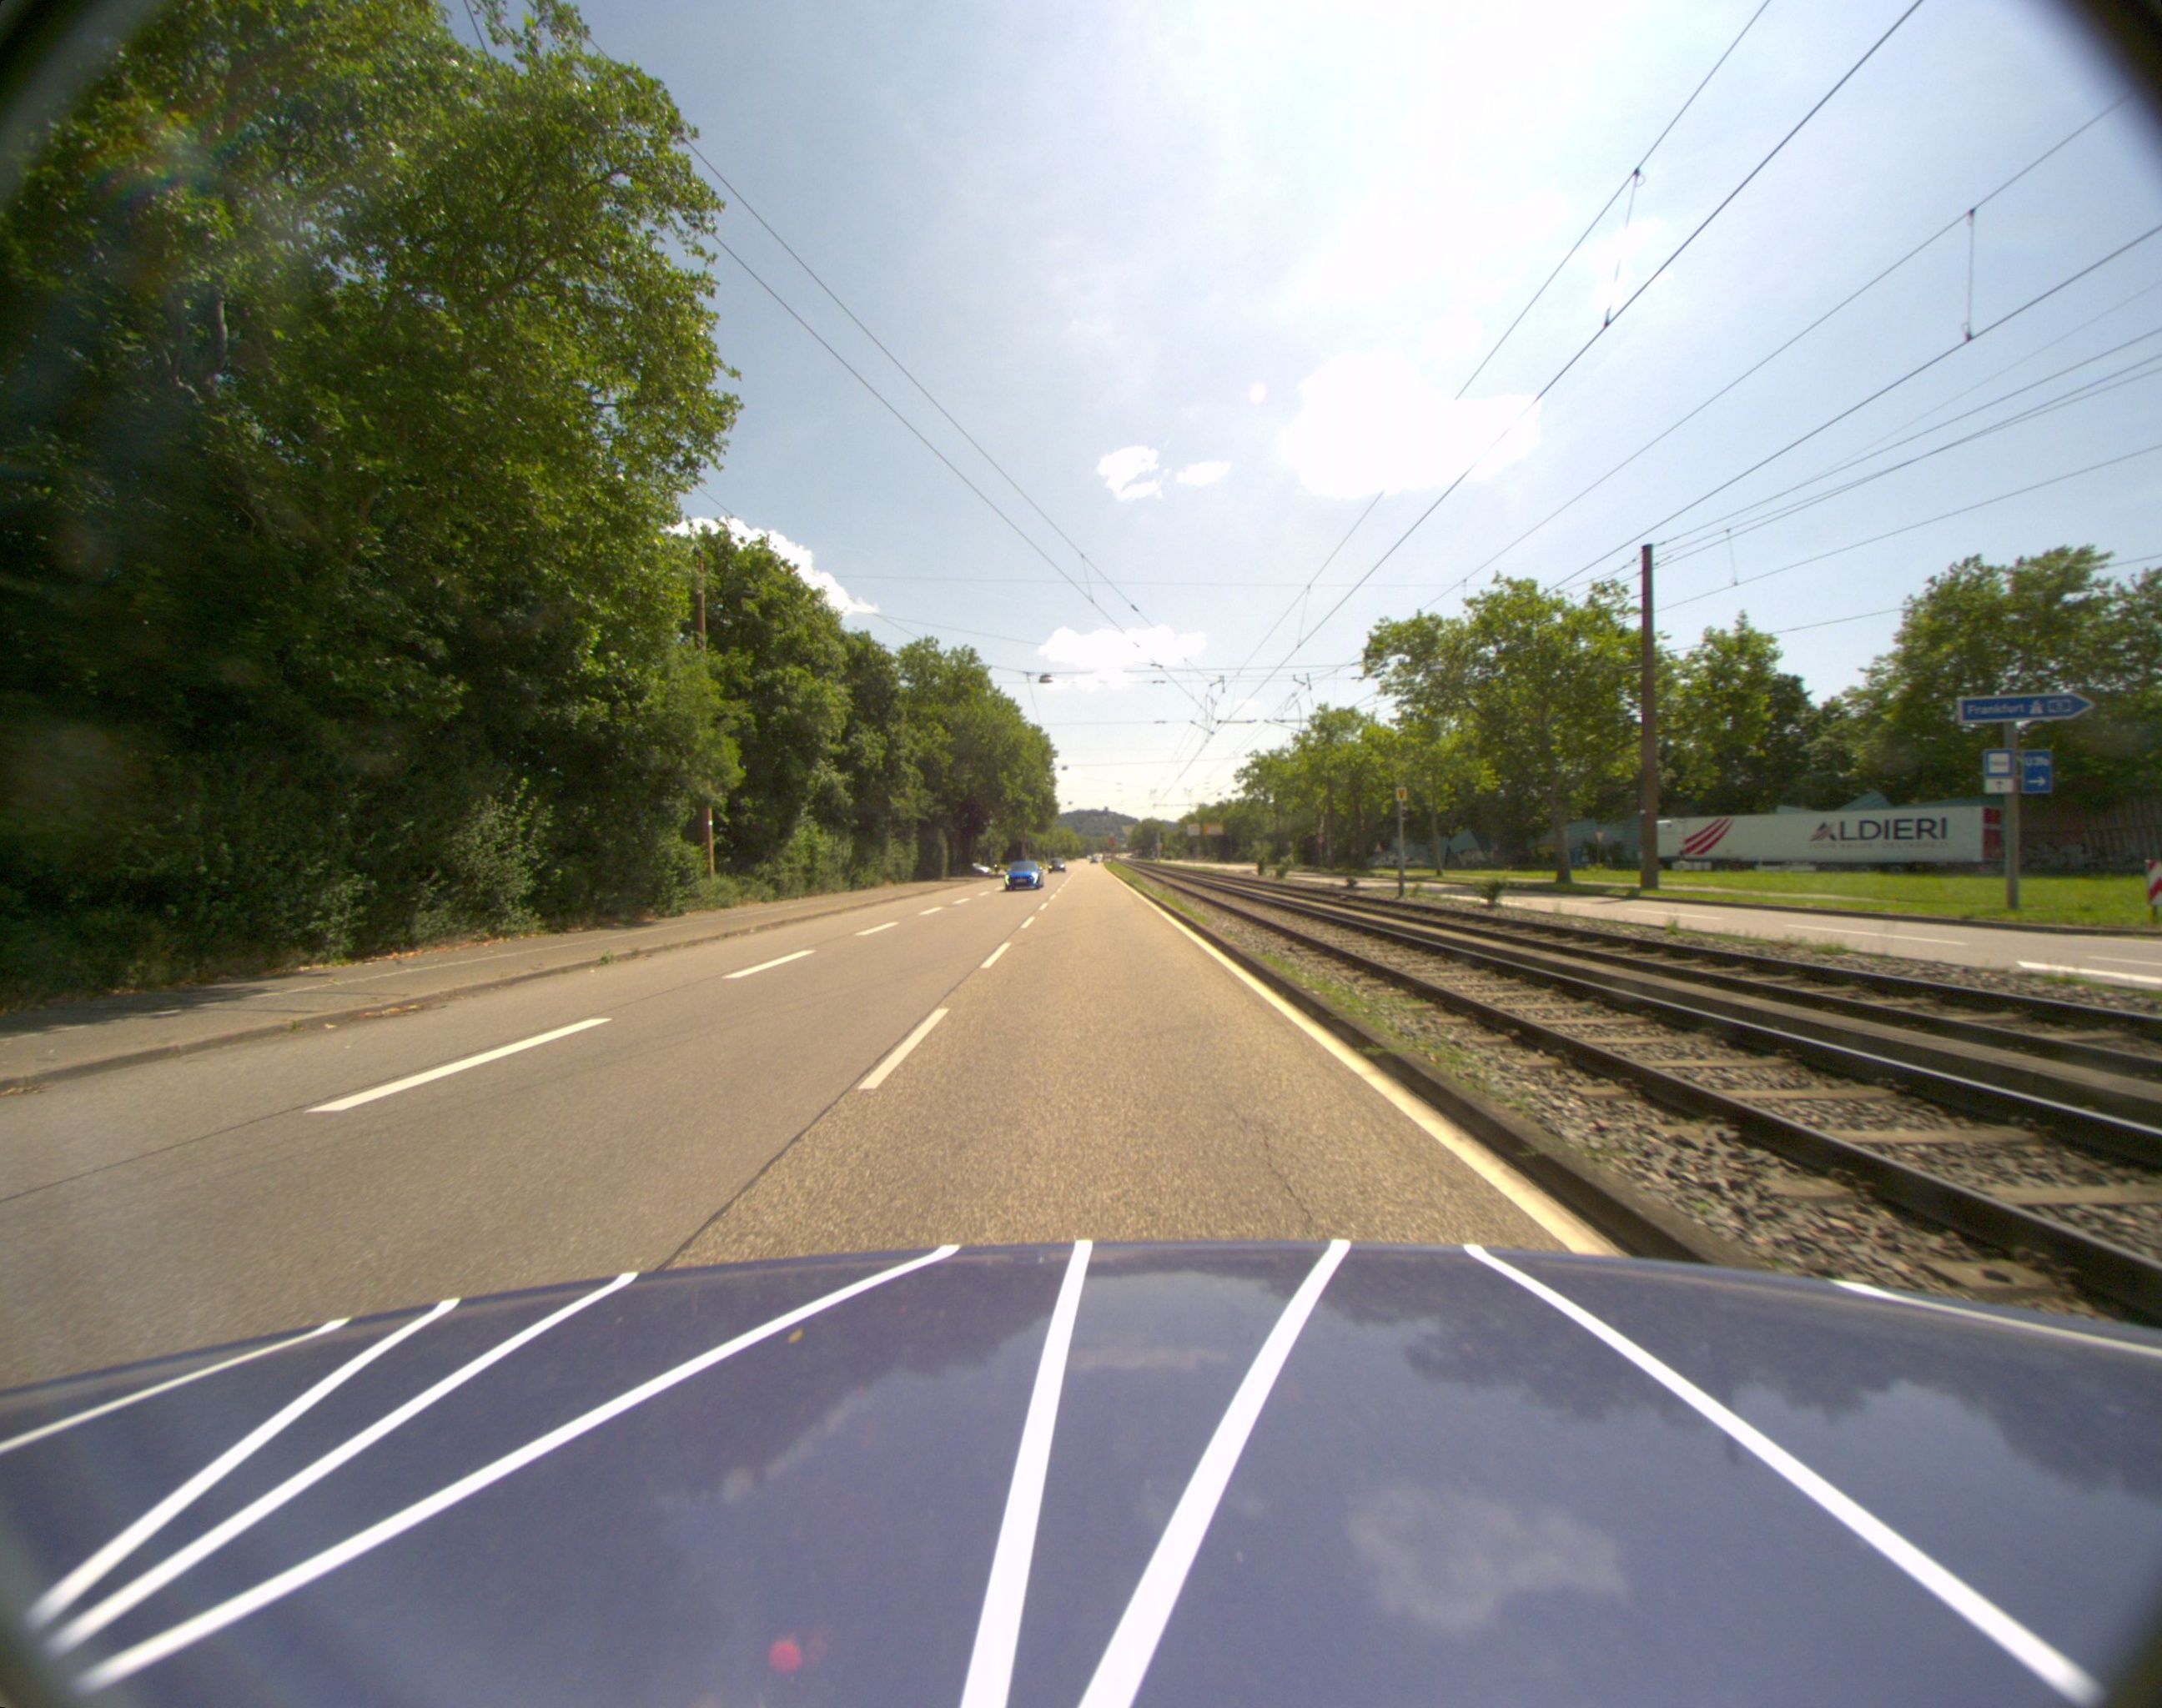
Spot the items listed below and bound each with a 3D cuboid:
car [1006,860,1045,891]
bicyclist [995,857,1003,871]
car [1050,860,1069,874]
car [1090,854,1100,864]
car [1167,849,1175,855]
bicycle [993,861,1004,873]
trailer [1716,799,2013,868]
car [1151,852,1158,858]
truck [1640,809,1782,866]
[{"bbox_3d":[-2.772,1.058,38.846,1.660,1.397,3.743,-2,1,0],"label":"car"},{"bbox_3d":[-8.133,0.977,75.484,0.704,1.431,0.641,-1,1,2],"label":"bicyclist"},{"bbox_3d":[-2.285,1.386,80.913,1.769,1.359,3.743,-2,1,1],"label":"car"},{"bbox_3d":[3.029,1.058,167.171,1.998,2.002,4.000,-2,1,1],"label":"car"},{"bbox_3d":[28.408,-0.655,239.810,1.998,1.783,4.000,-2,1,1],"label":"car"},{"bbox_3d":[-8.150,1.264,75.403,0.710,1.131,2.538,-1,0,3],"label":"bicycle"},{"bbox_3d":[46.467,-1.077,45.975,3.393,3.633,12.084,-1,0,-24],"label":"trailer"},{"bbox_3d":[24.408,0.434,251.340,1.998,1.783,4.000,-2,1,1],"label":"car"},{"bbox_3d":[43.416,-1.050,52.638,3.423,3.680,6.746,-1,0,-25],"label":"truck"}]
